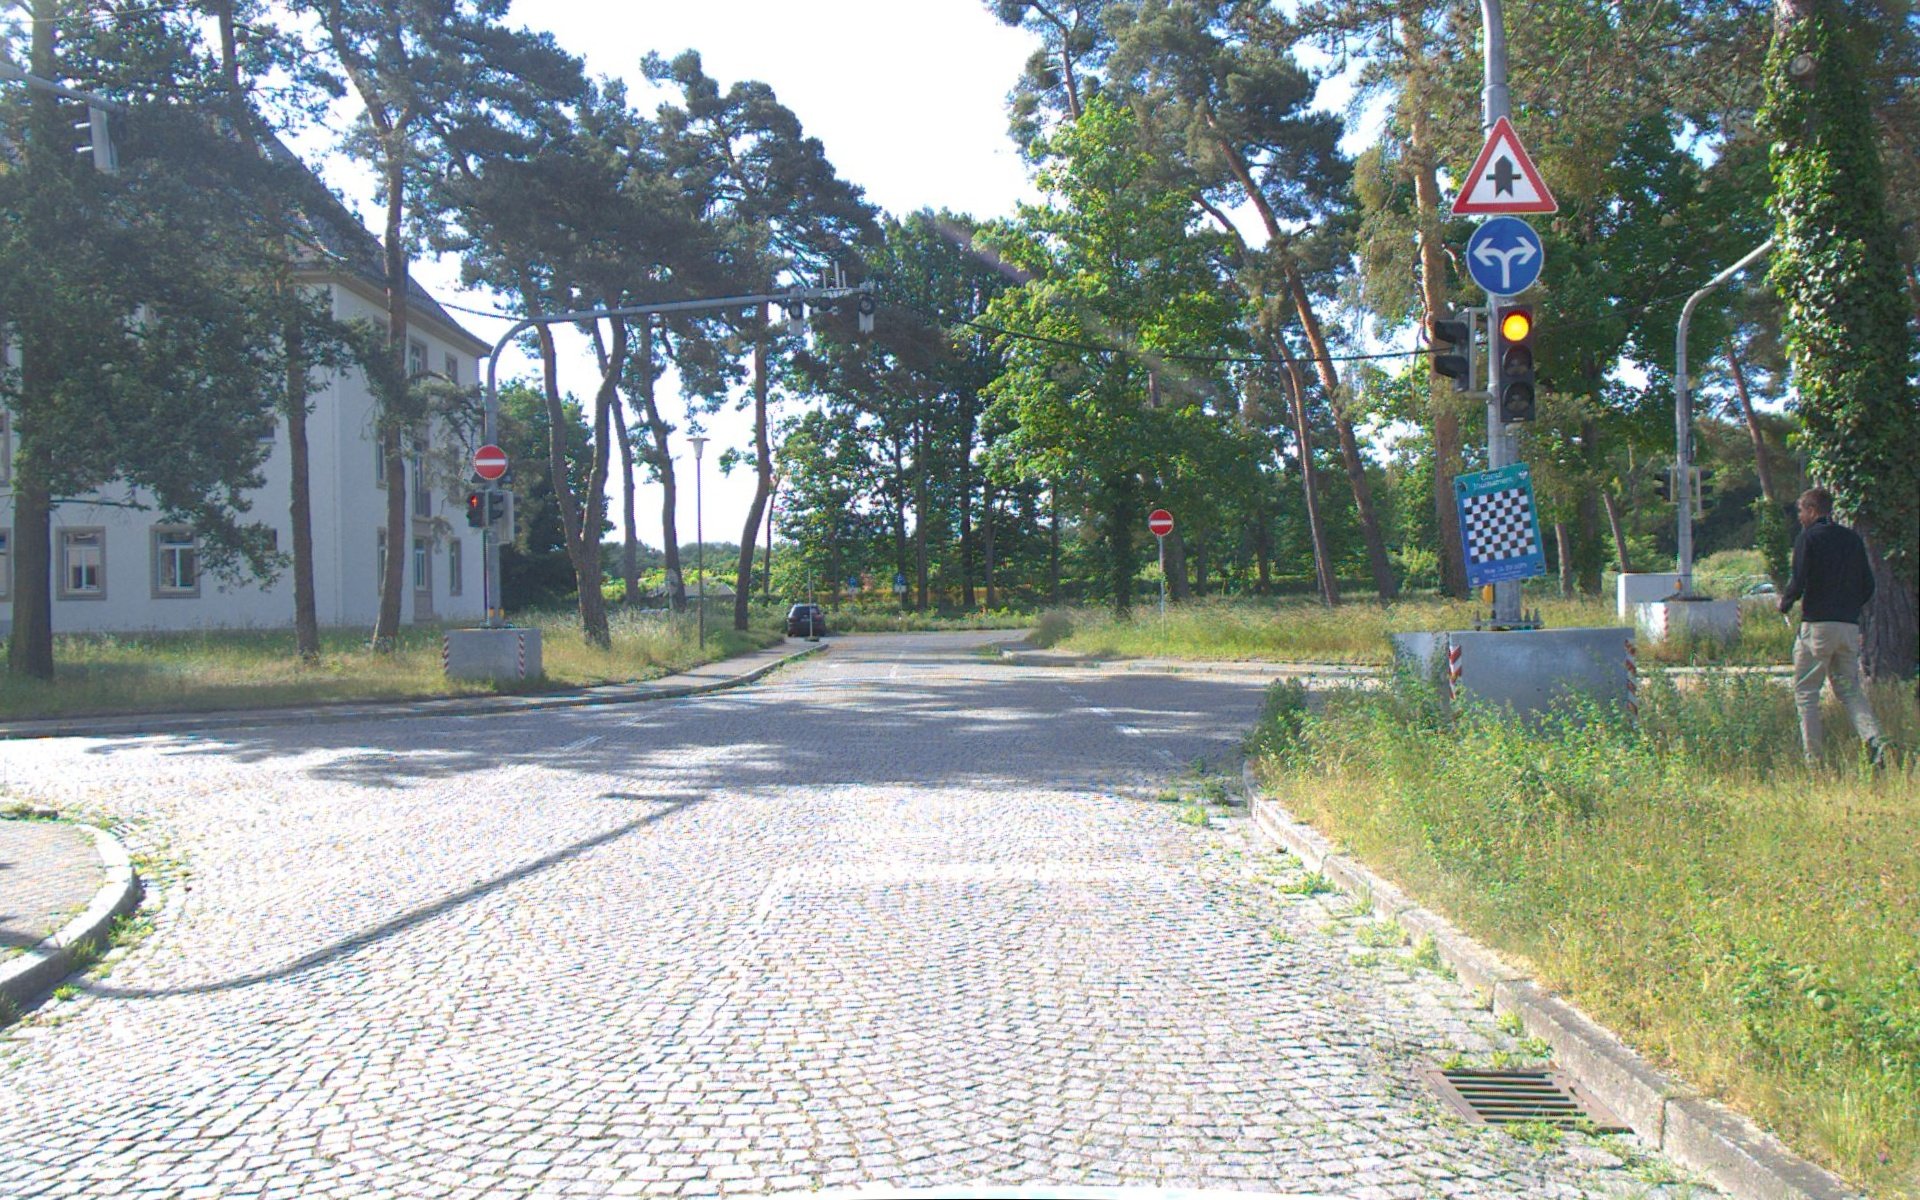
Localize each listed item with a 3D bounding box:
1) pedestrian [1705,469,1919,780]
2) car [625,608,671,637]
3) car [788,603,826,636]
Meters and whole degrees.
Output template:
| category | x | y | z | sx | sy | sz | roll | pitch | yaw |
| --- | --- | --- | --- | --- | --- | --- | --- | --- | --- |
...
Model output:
| category | x | y | z | sx | sy | sz | roll | pitch | yaw |
| --- | --- | --- | --- | --- | --- | --- | --- | --- | --- |
| pedestrian | 5.521 | 0.138 | 10.386 | 1.145 | 1.827 | 1.062 | -2 | 0 | -3 |
| car | -15.217 | 1.071 | 80.799 | 1.676 | 1.296 | 3.916 | -2 | 0 | -4 |
| car | -7.426 | 0.928 | 80.275 | 1.676 | 1.522 | 3.916 | -2 | 0 | -4 |
